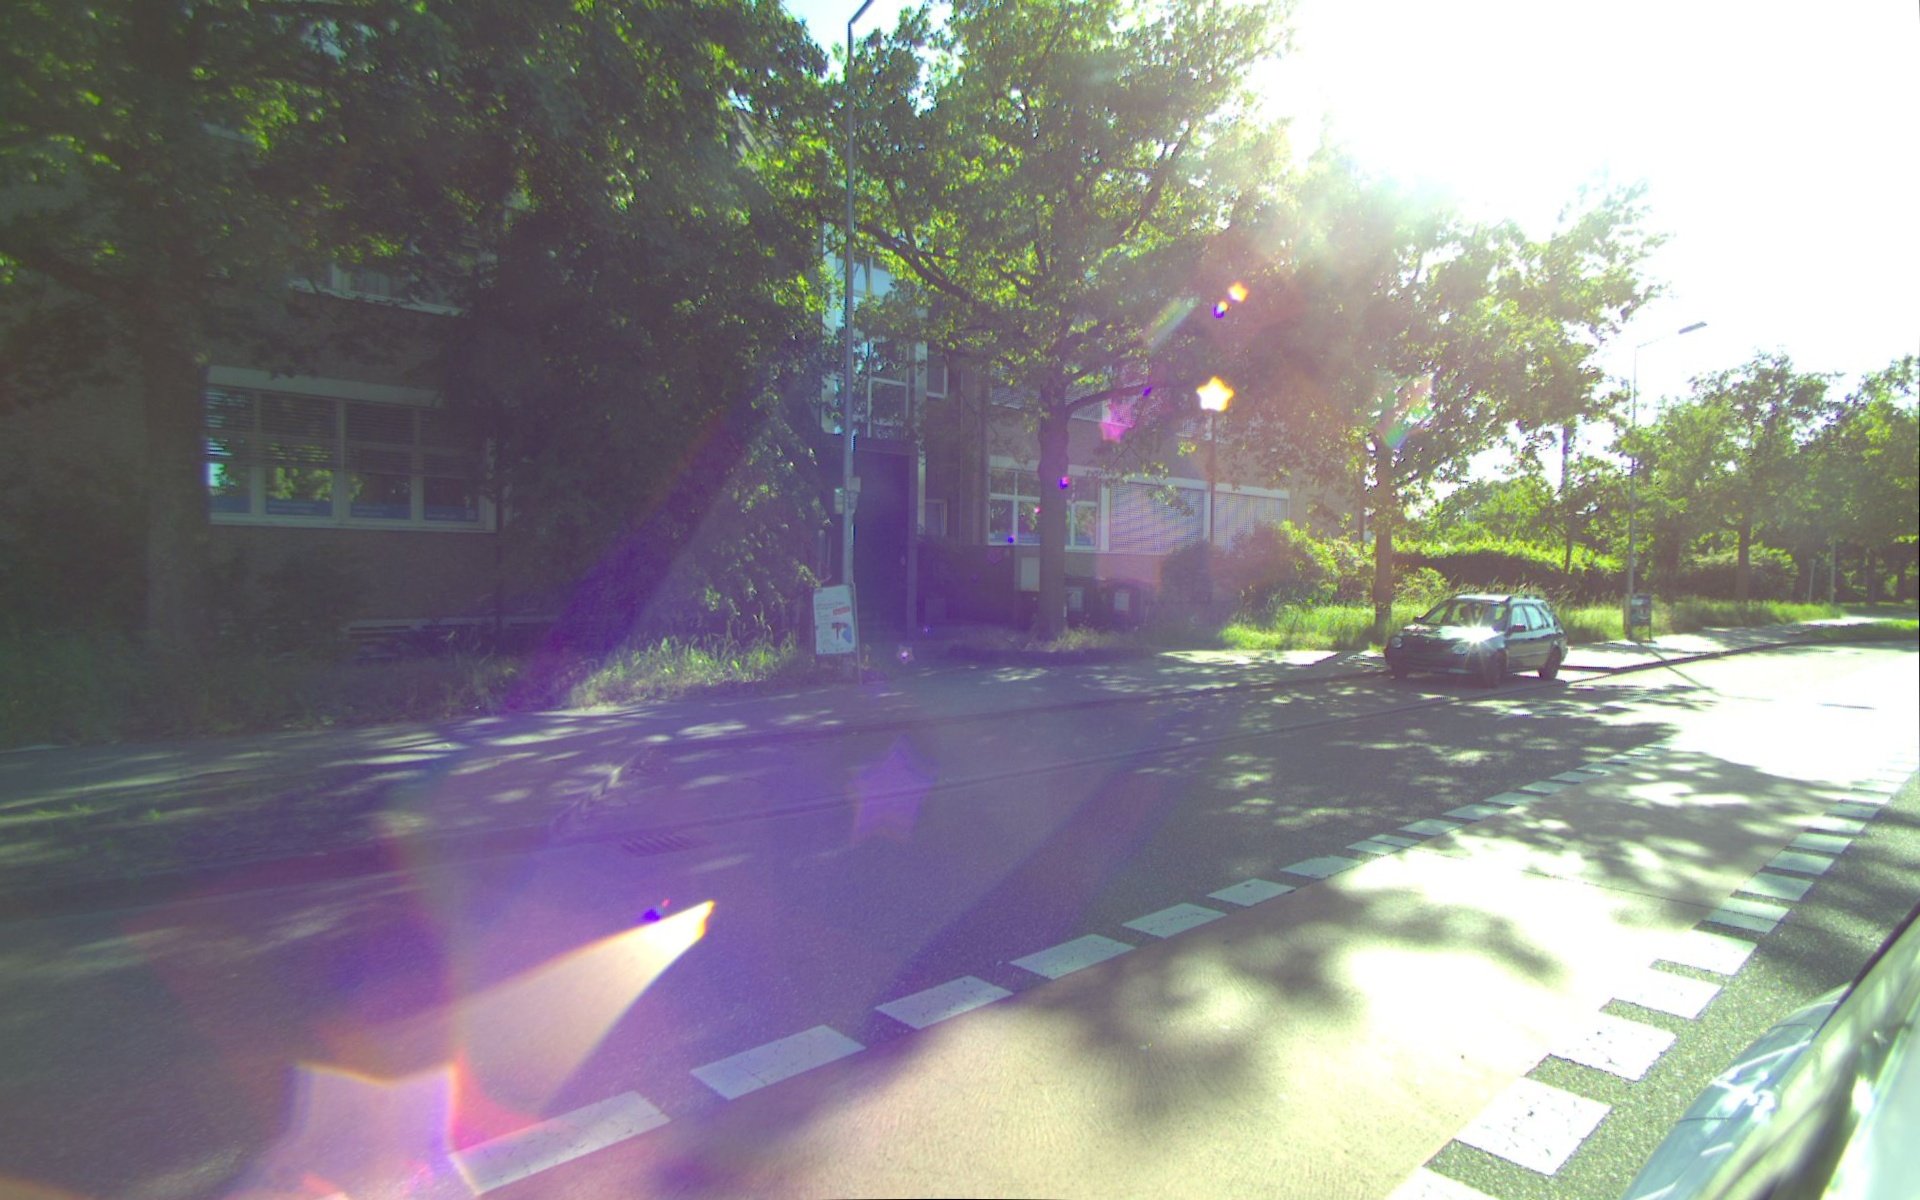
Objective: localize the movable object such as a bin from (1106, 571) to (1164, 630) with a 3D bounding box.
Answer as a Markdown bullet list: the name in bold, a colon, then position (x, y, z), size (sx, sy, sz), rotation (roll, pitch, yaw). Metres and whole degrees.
- **movable object such as a bin**: position (4.081, -0.007, 23.591), size (0.782, 1.338, 1.089), rotation (0, 1, -41)

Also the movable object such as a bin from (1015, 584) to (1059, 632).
- **movable object such as a bin**: position (1.705, 0.167, 22.388), size (0.683, 1.055, 0.687), rotation (0, 0, -41)

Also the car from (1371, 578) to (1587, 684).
- **car**: position (8.825, 0.429, 17.068), size (4.141, 1.504, 1.776), rotation (-1, 3, -41)

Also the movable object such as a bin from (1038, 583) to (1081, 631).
- **movable object such as a bin**: position (2.243, 0.147, 22.847), size (0.683, 1.055, 0.687), rotation (0, 1, -41)

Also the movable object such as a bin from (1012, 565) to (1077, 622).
- **movable object such as a bin**: position (2.135, -0.176, 25.782), size (0.864, 1.396, 1.469), rotation (0, 2, -41)

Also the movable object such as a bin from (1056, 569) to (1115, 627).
- **movable object such as a bin**: position (3.052, -0.065, 24.651), size (0.782, 1.357, 1.207), rotation (0, 1, -41)
